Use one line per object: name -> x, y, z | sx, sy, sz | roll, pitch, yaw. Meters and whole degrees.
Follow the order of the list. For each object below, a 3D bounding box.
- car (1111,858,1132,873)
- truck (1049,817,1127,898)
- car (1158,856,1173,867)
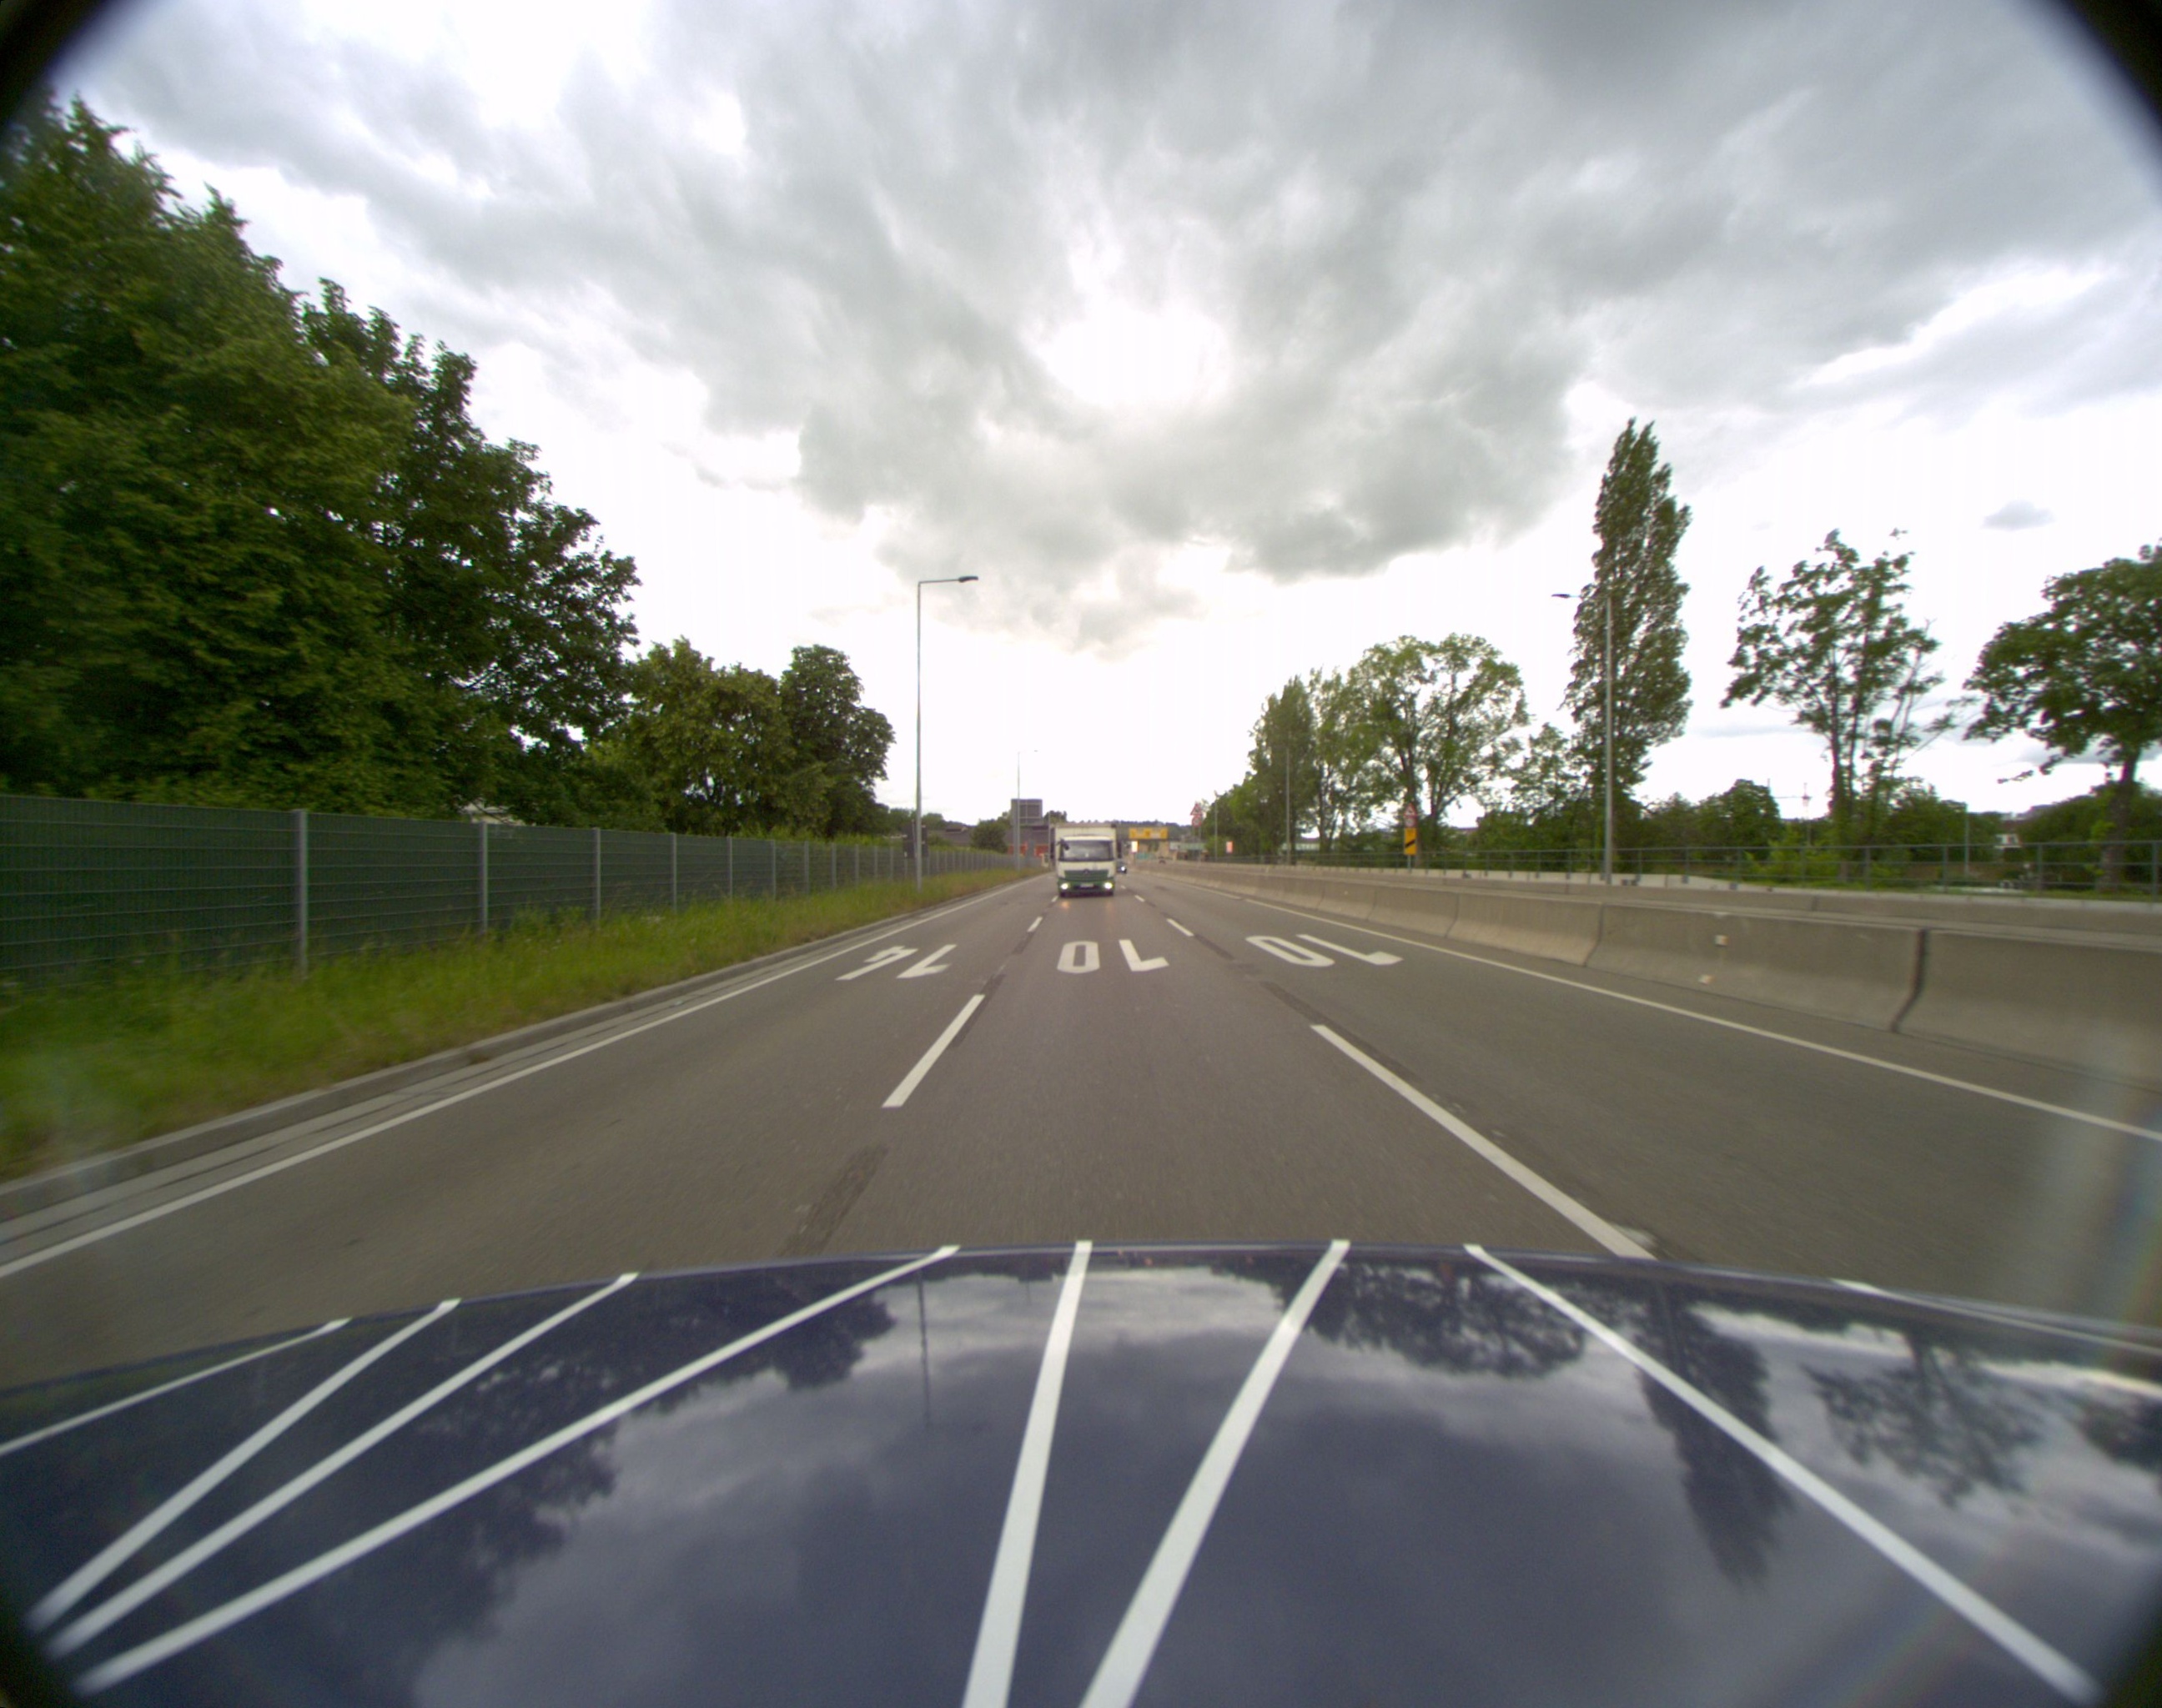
car -> 4.285, 1.225, 80.104 | 1.998, 1.444, 4.000 | -3, 0, 1
truck -> 0.240, 0.169, 34.090 | 2.943, 3.064, 8.387 | -2, 0, 0
car -> 15.703, 1.329, 141.658 | 2.335, 1.914, 5.002 | -3, 0, 1
